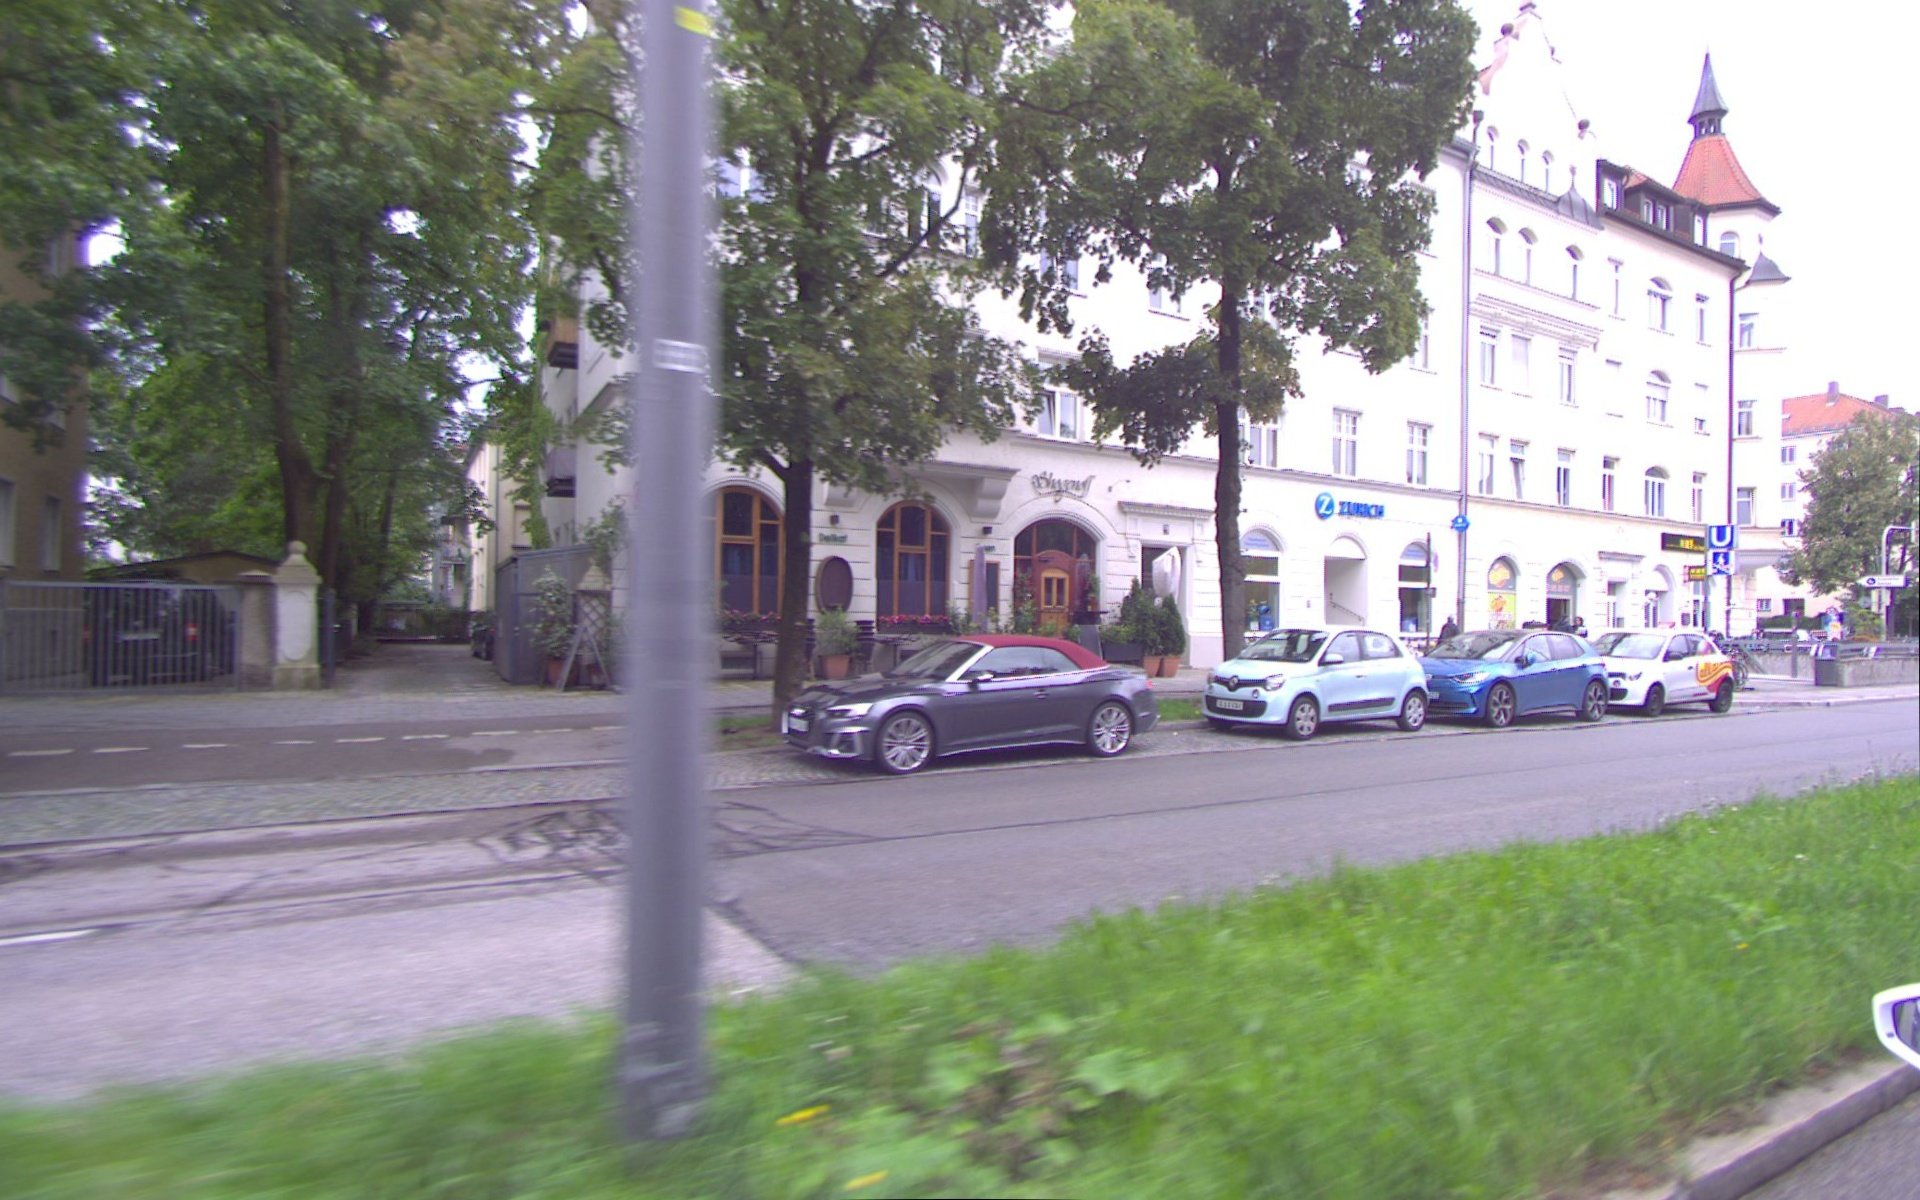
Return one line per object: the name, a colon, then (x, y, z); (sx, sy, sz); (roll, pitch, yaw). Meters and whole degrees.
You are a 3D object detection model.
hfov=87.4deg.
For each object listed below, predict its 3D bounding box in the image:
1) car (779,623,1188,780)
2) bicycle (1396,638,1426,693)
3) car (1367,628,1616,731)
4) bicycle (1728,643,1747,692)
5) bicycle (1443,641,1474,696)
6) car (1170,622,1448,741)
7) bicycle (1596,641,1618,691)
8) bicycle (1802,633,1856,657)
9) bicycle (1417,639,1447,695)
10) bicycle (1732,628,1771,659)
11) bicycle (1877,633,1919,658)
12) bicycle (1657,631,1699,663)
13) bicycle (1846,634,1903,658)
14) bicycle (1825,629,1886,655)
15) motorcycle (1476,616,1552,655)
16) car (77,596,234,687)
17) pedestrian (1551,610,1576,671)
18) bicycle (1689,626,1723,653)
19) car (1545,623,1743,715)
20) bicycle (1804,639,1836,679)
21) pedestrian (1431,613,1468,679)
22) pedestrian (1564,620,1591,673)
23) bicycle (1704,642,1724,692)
car: (0.359, 1.070, 11.885); (4.590, 1.527, 1.802); (1, -1, -30)
bicycle: (9.968, 1.424, 22.175); (0.450, 1.130, 1.963); (0, -1, 28)
car: (9.109, 1.275, 17.149); (4.240, 1.527, 1.802); (1, -1, -30)
bicycle: (19.060, 1.625, 24.629); (0.325, 1.130, 1.675); (0, -1, 36)
bicycle: (11.029, 1.486, 22.212); (0.539, 1.130, 1.878); (0, -1, 28)
car: (5.211, 1.121, 14.932); (3.913, 1.527, 1.802); (1, -1, -30)
bicycle: (15.342, 1.545, 23.815); (0.325, 1.130, 1.675); (0, -1, 36)
bicycle: (47.827, 2.475, 55.311); (0.759, 1.252, 2.163); (1, -1, -38)
bicycle: (10.497, 1.461, 22.311); (0.495, 1.130, 1.986); (0, -1, 28)
bicycle: (26.241, 1.437, 33.301); (1.527, 0.993, 0.470); (1, -1, -30)
bicycle: (50.371, 2.428, 53.089); (2.664, 1.267, 0.792); (2, 1, 30)
bicycle: (22.613, 1.478, 31.628); (1.527, 0.993, 0.470); (1, -1, -30)
bicycle: (48.835, 2.450, 53.664); (0.760, 1.252, 2.161); (1, -1, -41)
bicycle: (48.898, 2.278, 54.863); (0.785, 1.267, 2.374); (2, 1, -40)
motorcycle: (17.306, 1.104, 31.413); (1.947, 1.145, 0.610); (1, -1, 10)
car: (-14.995, 0.722, 18.924); (1.738, 1.530, 3.870); (1, -1, -31)
pedestrian: (17.525, 1.170, 29.157); (0.583, 1.719, 0.943); (0, -1, 32)
bicycle: (28.330, 1.499, 38.143); (1.527, 0.993, 0.470); (1, -1, -30)
car: (13.250, 1.283, 19.428); (3.743, 1.606, 1.643); (1, -1, -28)
bicycle: (25.058, 1.695, 29.256); (1.798, 1.130, 0.392); (1, -1, -39)
pedestrian: (12.884, 1.202, 26.428); (0.762, 1.719, 0.540); (1, -1, -32)
pedestrian: (19.406, 1.455, 31.554); (0.775, 1.653, 0.419); (1, -1, -33)
bicycle: (18.099, 1.581, 24.135); (0.362, 1.130, 1.675); (0, -1, 36)
